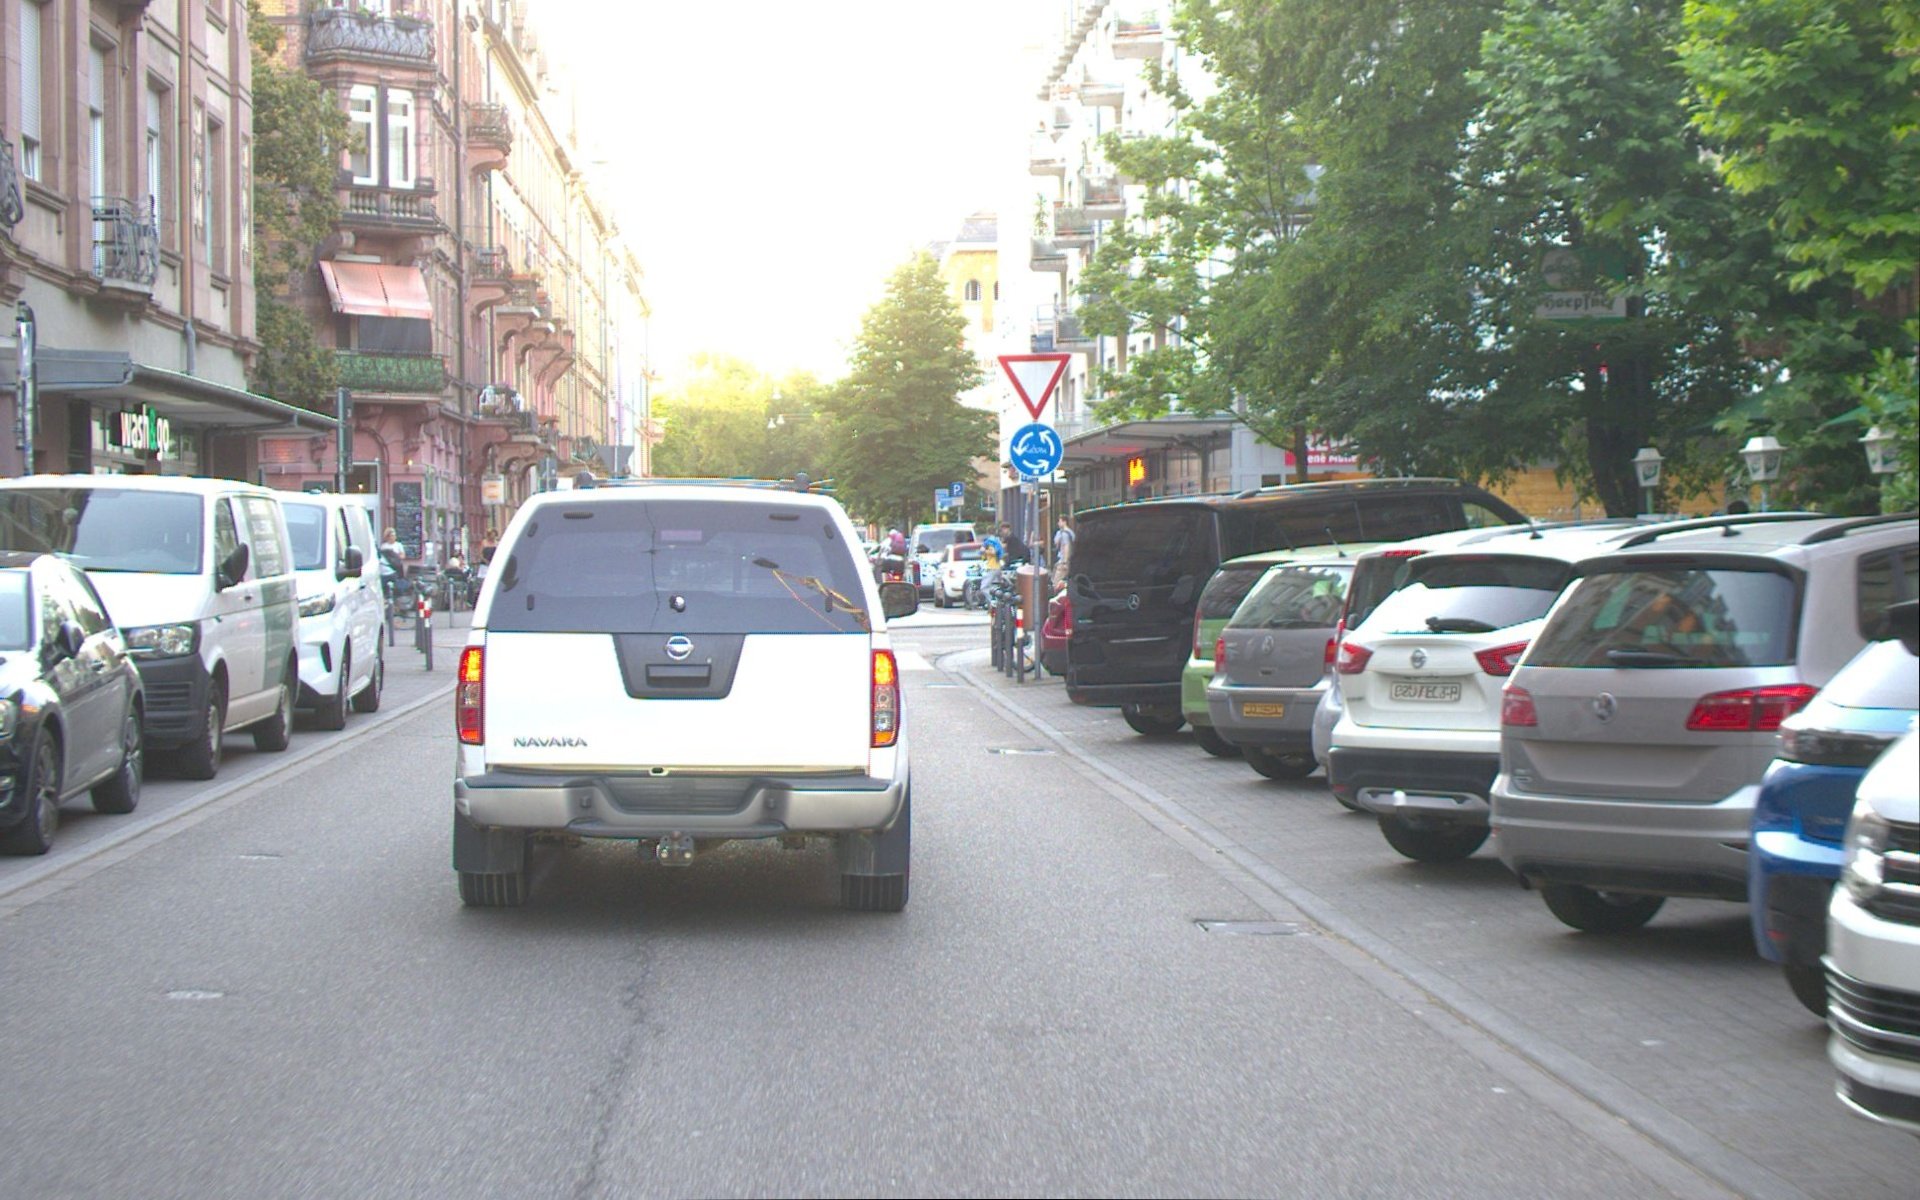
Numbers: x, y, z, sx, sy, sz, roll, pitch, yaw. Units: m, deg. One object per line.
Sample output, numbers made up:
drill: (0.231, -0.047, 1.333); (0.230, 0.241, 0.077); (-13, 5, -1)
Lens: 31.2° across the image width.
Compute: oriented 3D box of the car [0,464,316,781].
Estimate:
car: (-5.629, 0.101, 23.168); (1.837, 1.915, 4.846); (0, 1, -2)

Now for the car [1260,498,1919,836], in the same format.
car: (3.840, 0.306, 19.707); (4.098, 1.585, 1.818); (-5, 2, -41)

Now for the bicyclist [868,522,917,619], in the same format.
bicyclist: (-1.375, -0.598, 69.892); (0.838, 1.937, 0.785); (1, 0, -13)

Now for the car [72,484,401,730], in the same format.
car: (-6.037, 0.016, 29.278); (2.109, 1.915, 5.027); (0, 1, -4)

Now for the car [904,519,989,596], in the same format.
car: (-0.382, -1.098, 89.737); (1.942, 1.927, 4.001); (1, 0, -4)

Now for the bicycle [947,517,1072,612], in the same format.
bicycle: (1.075, -0.771, 74.345); (2.647, 2.007, 0.638); (1, 0, -2)

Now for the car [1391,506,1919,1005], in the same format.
car: (3.935, 0.448, 13.575); (4.154, 1.585, 1.886); (-4, 3, -33)

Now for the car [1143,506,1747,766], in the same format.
car: (3.531, 0.209, 24.763); (4.096, 1.546, 1.818); (-4, 2, -34)

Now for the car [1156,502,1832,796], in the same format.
car: (3.470, 0.254, 22.077); (4.096, 1.546, 1.818); (-4, 2, -34)

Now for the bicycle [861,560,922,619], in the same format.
bicycle: (-1.411, -0.214, 70.002); (0.838, 1.167, 1.936); (1, 0, -13)

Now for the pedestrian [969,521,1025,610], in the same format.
pedestrian: (0.729, -0.683, 67.654); (0.903, 1.730, 0.616); (1, 0, -23)

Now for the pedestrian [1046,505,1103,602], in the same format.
pedestrian: (2.244, -0.912, 67.523); (0.903, 1.878, 0.616); (1, 0, -34)

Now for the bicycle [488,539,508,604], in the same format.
bicycle: (-10.467, -0.649, 77.942); (0.424, 1.437, 1.905); (1, 0, -7)

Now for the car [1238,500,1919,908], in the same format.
car: (3.543, 0.393, 16.480); (4.096, 1.585, 1.818); (-4, 2, -33)

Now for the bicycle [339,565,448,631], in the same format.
bicycle: (-10.347, -0.036, 62.833); (1.929, 1.167, 0.596); (1, 0, -11)

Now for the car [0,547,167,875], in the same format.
car: (-5.238, 0.468, 17.363); (1.836, 1.466, 4.173); (0, 1, -5)

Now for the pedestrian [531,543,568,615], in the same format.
pedestrian: (-9.426, -0.483, 79.037); (0.797, 1.615, 0.945); (1, 0, -5)

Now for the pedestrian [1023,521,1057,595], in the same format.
pedestrian: (1.819, -0.958, 78.249); (0.720, 1.657, 0.702); (1, 0, -3)

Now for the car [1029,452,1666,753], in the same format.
car: (3.265, -0.050, 28.089); (5.422, 2.065, 1.932); (-5, 2, -41)

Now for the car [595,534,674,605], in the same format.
car: (-8.200, -0.766, 86.874); (1.834, 1.744, 4.001); (1, 0, -4)

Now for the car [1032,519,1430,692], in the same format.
car: (2.917, 0.013, 36.691); (4.036, 1.622, 1.693); (-3, 3, -34)

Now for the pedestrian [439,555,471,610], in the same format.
pedestrian: (-10.954, -0.379, 74.617); (0.648, 1.187, 0.540); (1, 0, -7)

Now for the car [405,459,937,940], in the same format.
car: (-1.120, 0.364, 15.600); (1.938, 1.804, 5.001); (1, 0, 0)

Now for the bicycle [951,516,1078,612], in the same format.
bicycle: (1.159, -0.765, 73.533); (2.647, 2.007, 0.638); (1, 0, -2)

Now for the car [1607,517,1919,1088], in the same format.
car: (4.278, 0.509, 10.924); (4.153, 1.585, 1.886); (-2, 2, -31)

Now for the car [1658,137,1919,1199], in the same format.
car: (4.221, 0.170, 8.038); (4.922, 2.354, 2.000); (-2, 1, -29)

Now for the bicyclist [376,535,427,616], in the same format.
bicyclist: (-10.216, -0.442, 62.870); (0.870, 1.461, 0.576); (1, 0, -12)

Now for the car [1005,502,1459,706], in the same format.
car: (2.682, 0.006, 33.338); (4.213, 1.682, 1.932); (-5, 2, -41)

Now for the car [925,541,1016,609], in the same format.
car: (0.222, -0.585, 80.978); (1.834, 1.536, 4.001); (1, 0, -4)

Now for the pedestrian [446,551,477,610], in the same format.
pedestrian: (-10.989, -0.433, 75.802); (0.648, 1.281, 0.540); (1, 0, -7)

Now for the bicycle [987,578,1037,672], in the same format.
bicycle: (0.603, 0.279, 39.982); (0.364, 1.060, 1.552); (1, 0, -7)

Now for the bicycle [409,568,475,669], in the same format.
bicycle: (-5.989, 0.204, 39.818); (0.471, 1.138, 1.785); (1, 0, 0)
